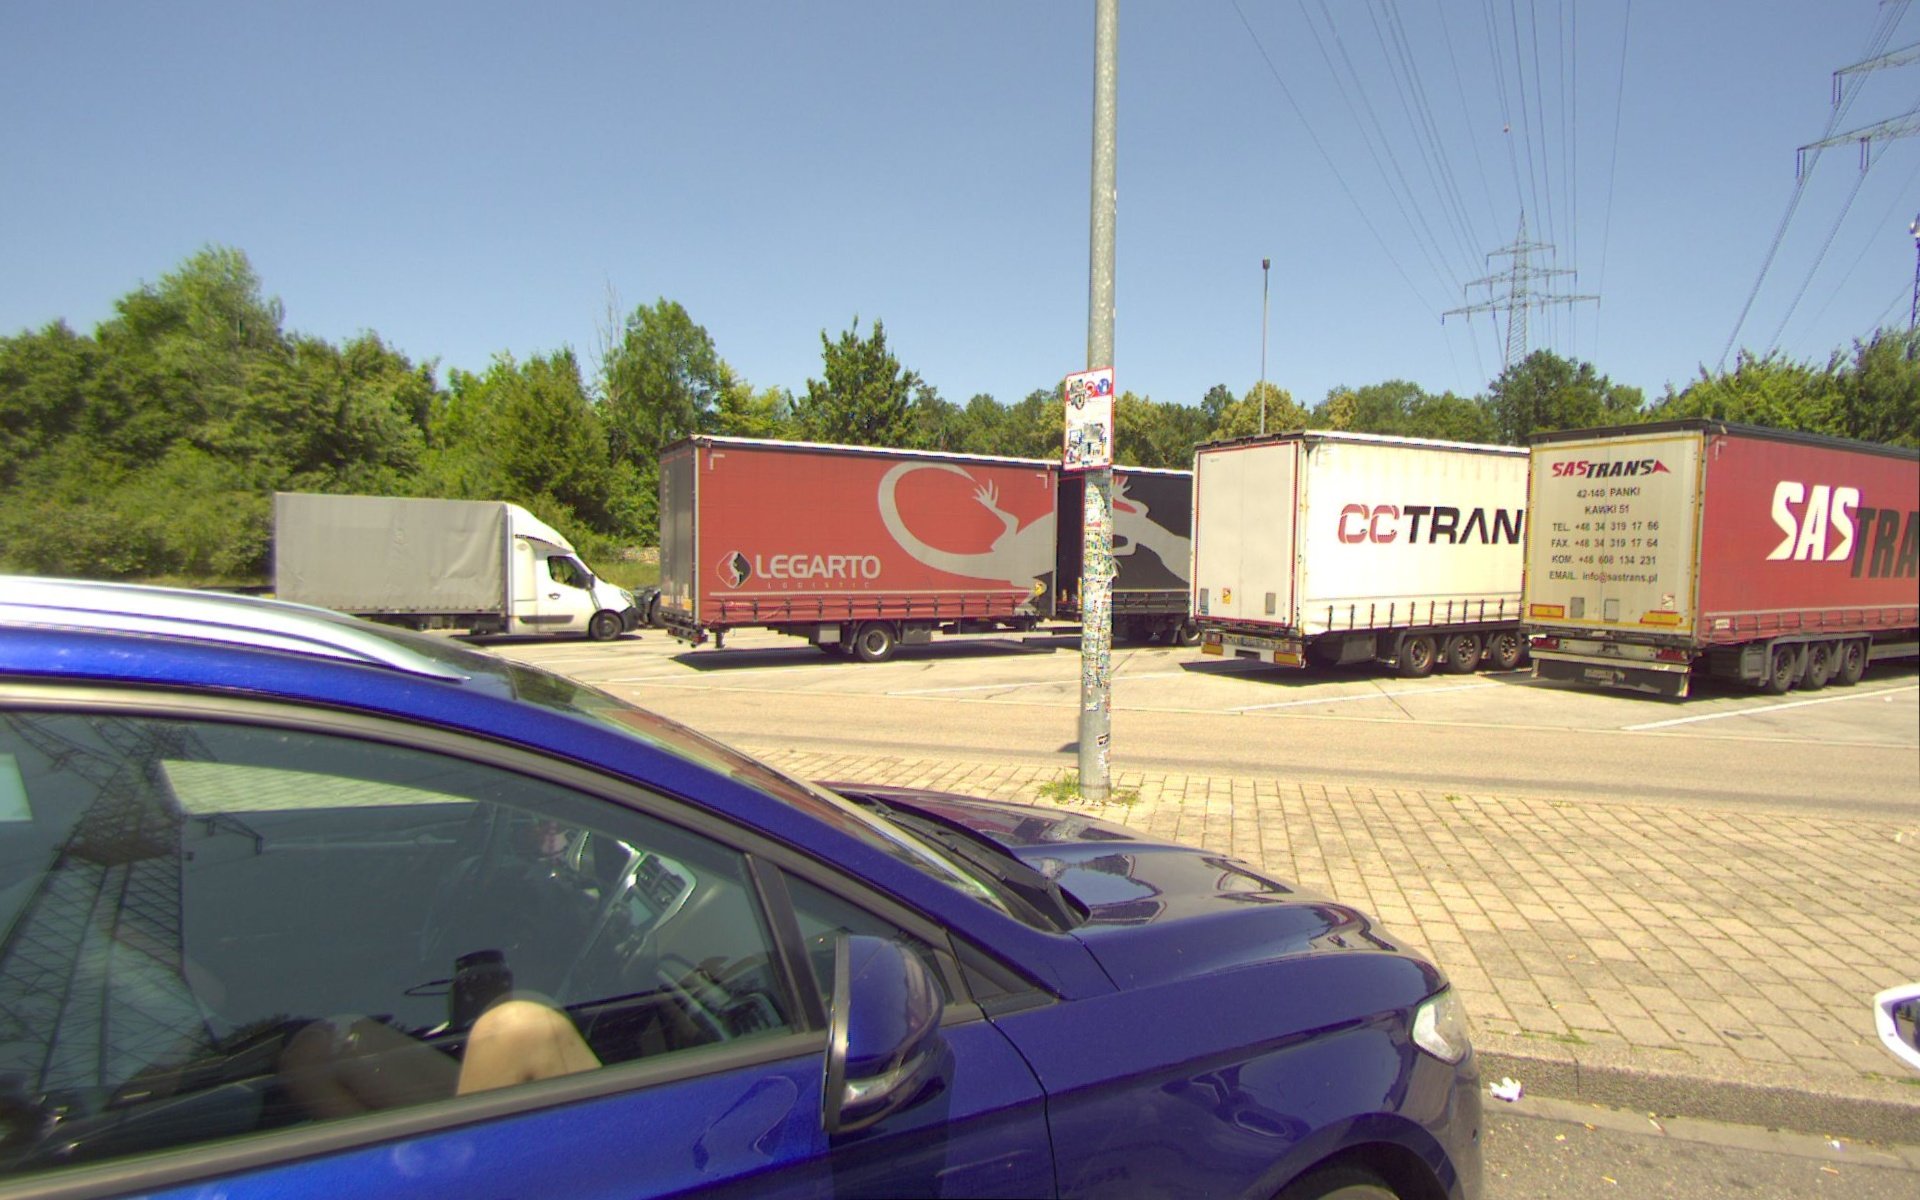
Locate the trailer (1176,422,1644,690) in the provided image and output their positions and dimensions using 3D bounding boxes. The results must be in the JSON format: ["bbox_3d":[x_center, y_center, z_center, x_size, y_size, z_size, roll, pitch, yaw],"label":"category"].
[{"bbox_3d":[8.977,-0.778,19.357,10.264,4.158,2.693,-1,3,-30],"label":"trailer"}]

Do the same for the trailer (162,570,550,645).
[{"bbox_3d":[-14.745,0.095,25.248,8.007,1.648,2.199,-1,3,-30],"label":"trailer"}]

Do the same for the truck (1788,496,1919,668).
[{"bbox_3d":[21.263,-0.413,22.059,5.903,3.409,2.798,-1,3,-30],"label":"truck"}]

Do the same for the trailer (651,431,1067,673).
[{"bbox_3d":[-1.877,-0.912,20.344,8.007,4.127,2.693,-1,3,-30],"label":"trailer"}]

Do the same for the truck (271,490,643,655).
[{"bbox_3d":[-11.234,-0.632,23.008,7.187,3.289,2.694,-1,3,-29],"label":"truck"}]

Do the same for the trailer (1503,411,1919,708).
[{"bbox_3d":[15.470,-0.685,18.623,13.599,4.127,2.807,-1,3,-31],"label":"trailer"}]

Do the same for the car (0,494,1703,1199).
[{"bbox_3d":[-0.969,0.650,1.465,4.522,1.491,1.743,0,2,-32],"label":"car"}]

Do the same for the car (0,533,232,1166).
[{"bbox_3d":[-4.410,0.578,2.103,4.522,1.526,1.743,0,2,-32],"label":"car"}]

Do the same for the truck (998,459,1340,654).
[{"bbox_3d":[5.276,-1.009,24.552,8.586,4.127,2.693,-1,3,-30],"label":"truck"}]
